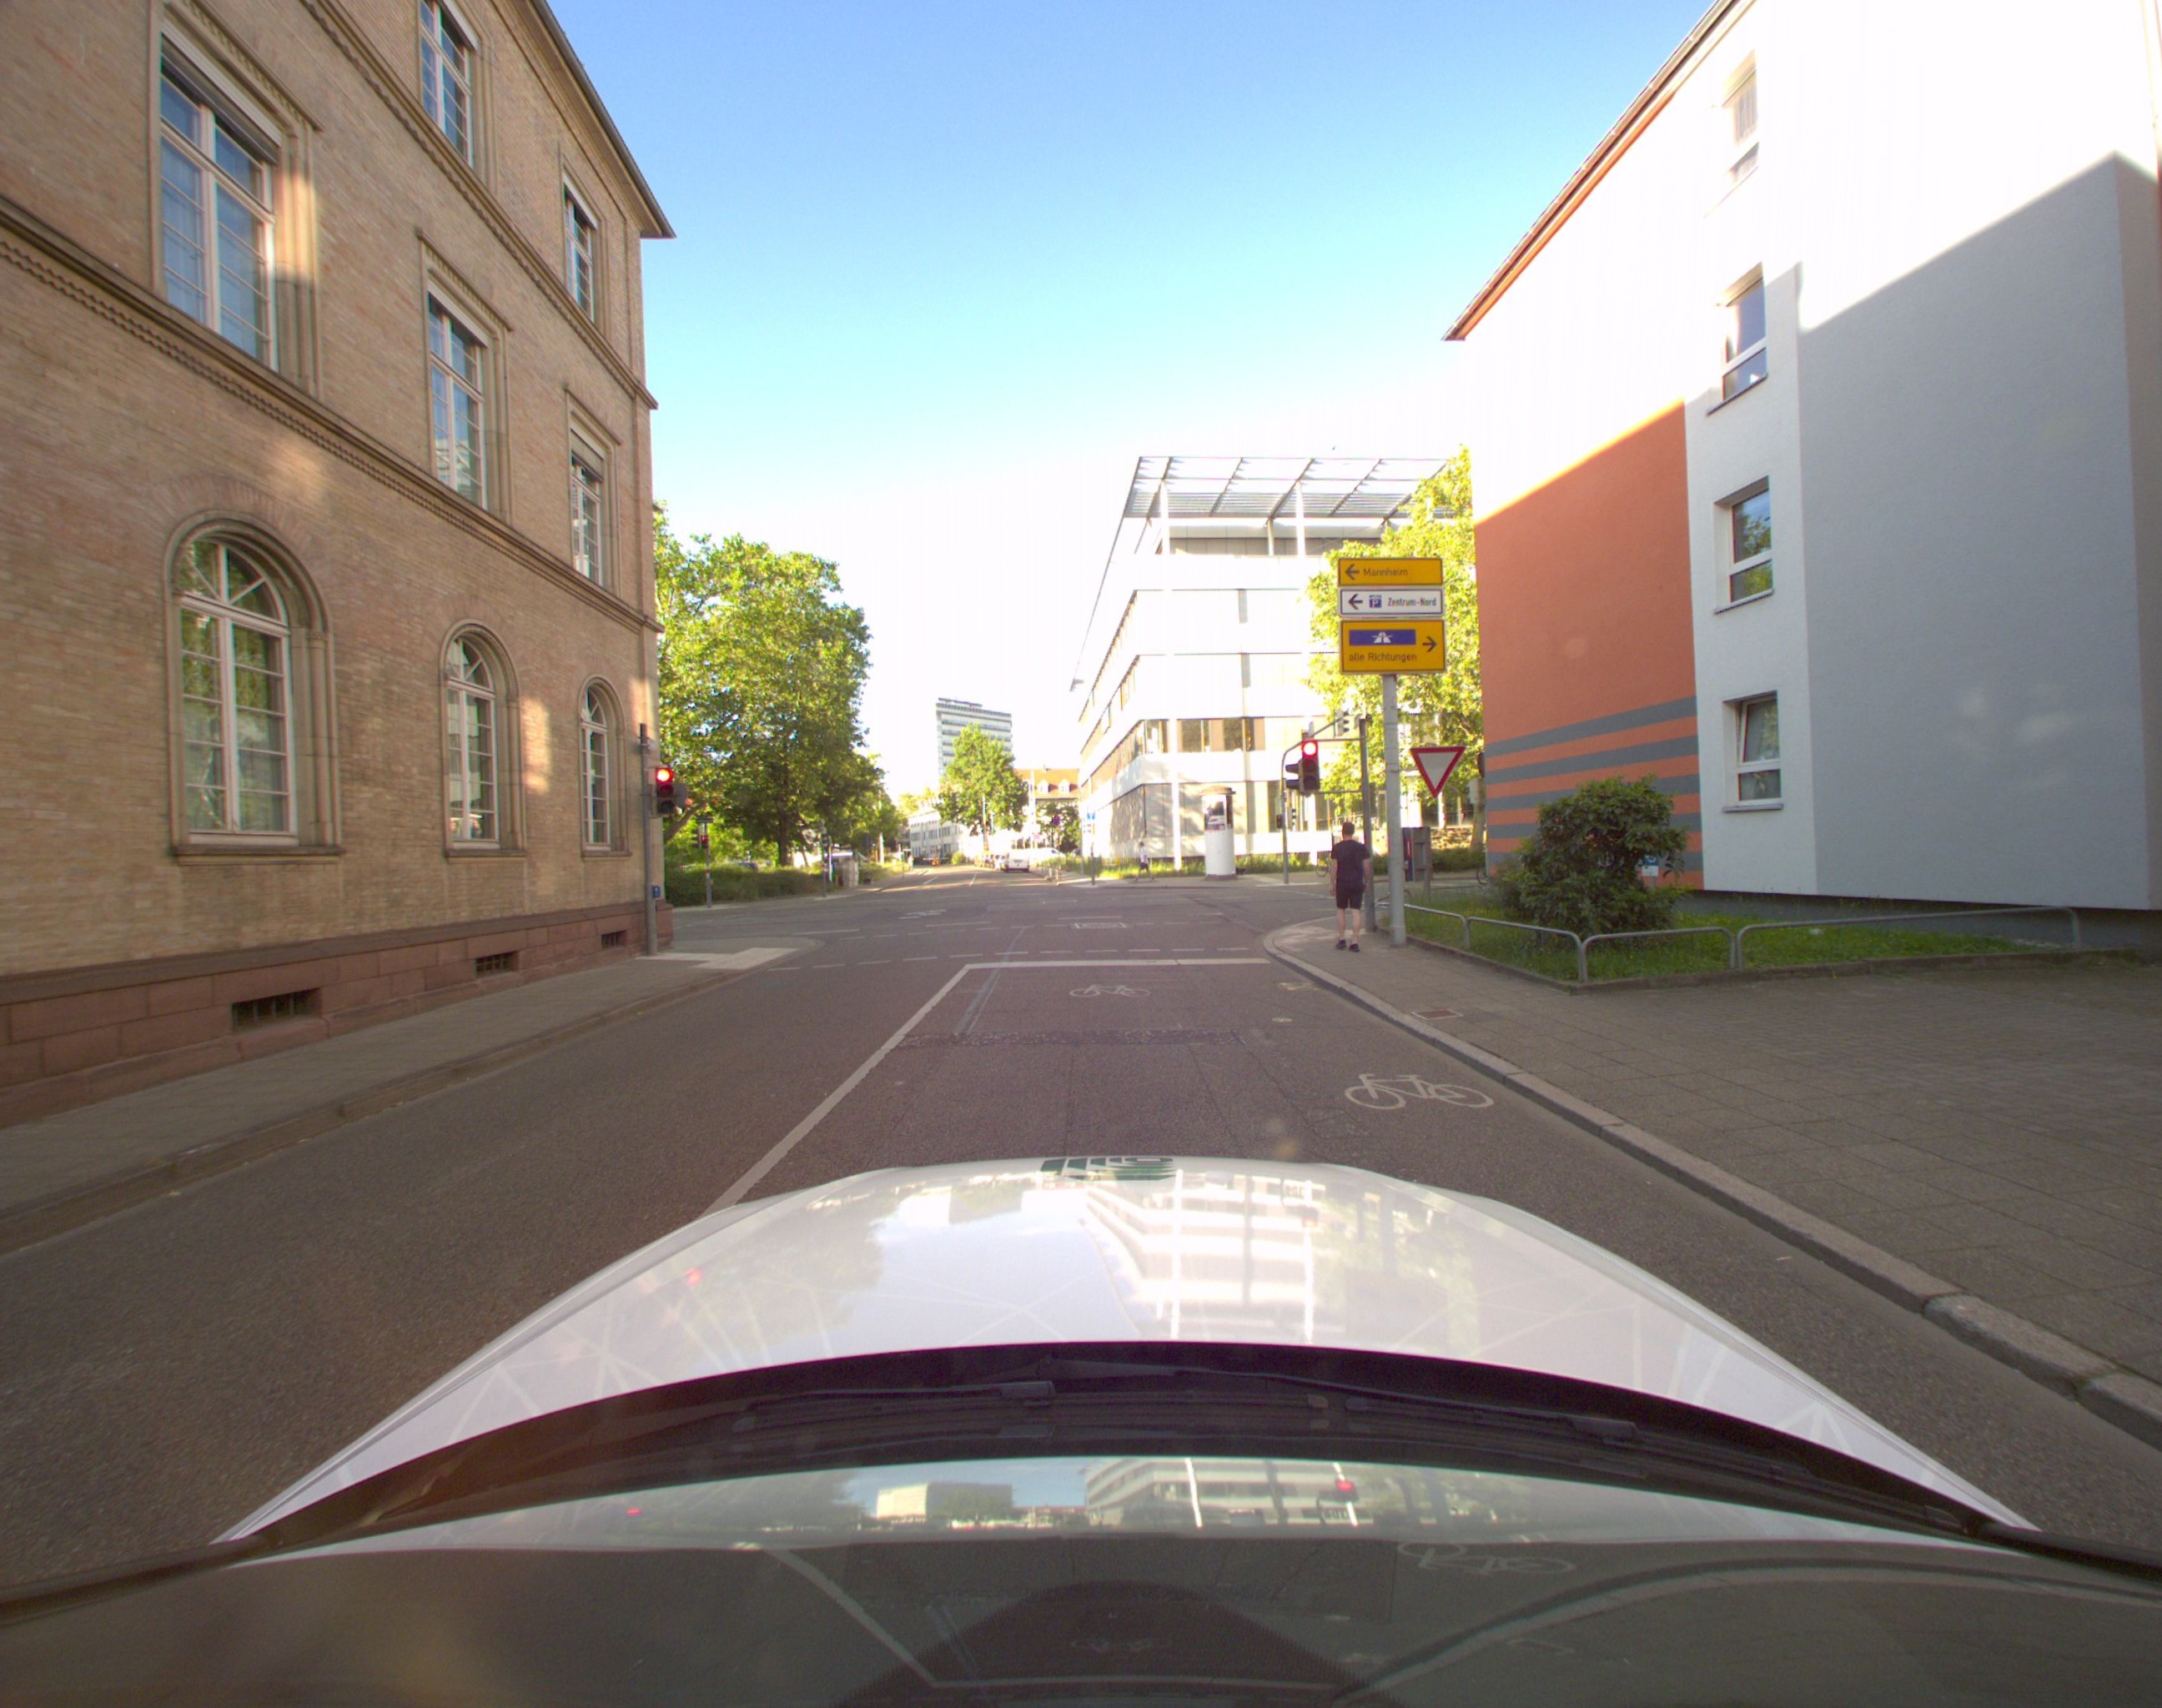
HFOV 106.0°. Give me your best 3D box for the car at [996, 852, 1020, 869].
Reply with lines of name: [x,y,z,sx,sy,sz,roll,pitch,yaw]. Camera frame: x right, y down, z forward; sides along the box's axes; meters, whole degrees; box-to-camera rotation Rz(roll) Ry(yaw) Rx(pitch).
car: [-6.921,0.616,77.151,1.993,1.499,4.638,0,-1,-8]

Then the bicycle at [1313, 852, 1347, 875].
bicycle: [11.006,0.432,36.025,0.381,1.008,1.416,-2,0,-40]

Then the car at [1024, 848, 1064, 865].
car: [-4.684,0.283,103.247,4.802,2.159,1.989,0,-1,-16]

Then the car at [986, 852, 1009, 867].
car: [-8.885,0.599,86.377,1.994,1.499,4.635,0,-1,-10]

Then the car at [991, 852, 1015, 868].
car: [-7.843,0.593,81.624,1.994,1.499,4.270,0,-1,-11]

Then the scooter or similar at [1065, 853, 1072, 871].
scooter or similar: [-0.914,0.588,58.473,0.436,1.256,1.418,-2,0,-2]

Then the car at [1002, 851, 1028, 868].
car: [-5.848,0.486,71.350,1.993,1.499,4.638,0,-1,-8]

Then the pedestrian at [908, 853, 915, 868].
pedestrian: [-18.778,0.717,90.207,0.700,1.587,0.633,0,-1,-14]

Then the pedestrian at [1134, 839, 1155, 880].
pedestrian: [2.948,0.264,37.938,0.911,1.869,0.743,0,-1,1]

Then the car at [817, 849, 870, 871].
car: [-22.025,0.533,75.766,4.441,2.014,1.995,0,-1,-8]

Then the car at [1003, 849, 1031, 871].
car: [-5.172,0.474,65.116,1.992,1.725,4.640,0,-1,-7]

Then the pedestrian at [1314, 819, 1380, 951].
pedestrian: [3.750,0.432,11.532,0.697,1.810,0.720,0,-1,1]

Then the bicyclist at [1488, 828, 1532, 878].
bicyclist: [13.773,-0.033,26.157,1.069,1.527,0.593,-2,0,7]

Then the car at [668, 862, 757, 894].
car: [-17.083,1.093,37.900,3.407,1.457,1.646,0,-1,-8]

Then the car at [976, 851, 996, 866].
car: [-11.302,0.546,96.301,1.995,1.725,4.633,0,-1,-11]

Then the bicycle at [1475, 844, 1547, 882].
bicycle: [13.792,0.282,26.148,1.953,1.152,0.593,-2,0,7]

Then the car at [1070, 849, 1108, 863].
car: [1.022,0.268,104.954,4.644,1.725,1.990,0,-1,-15]
